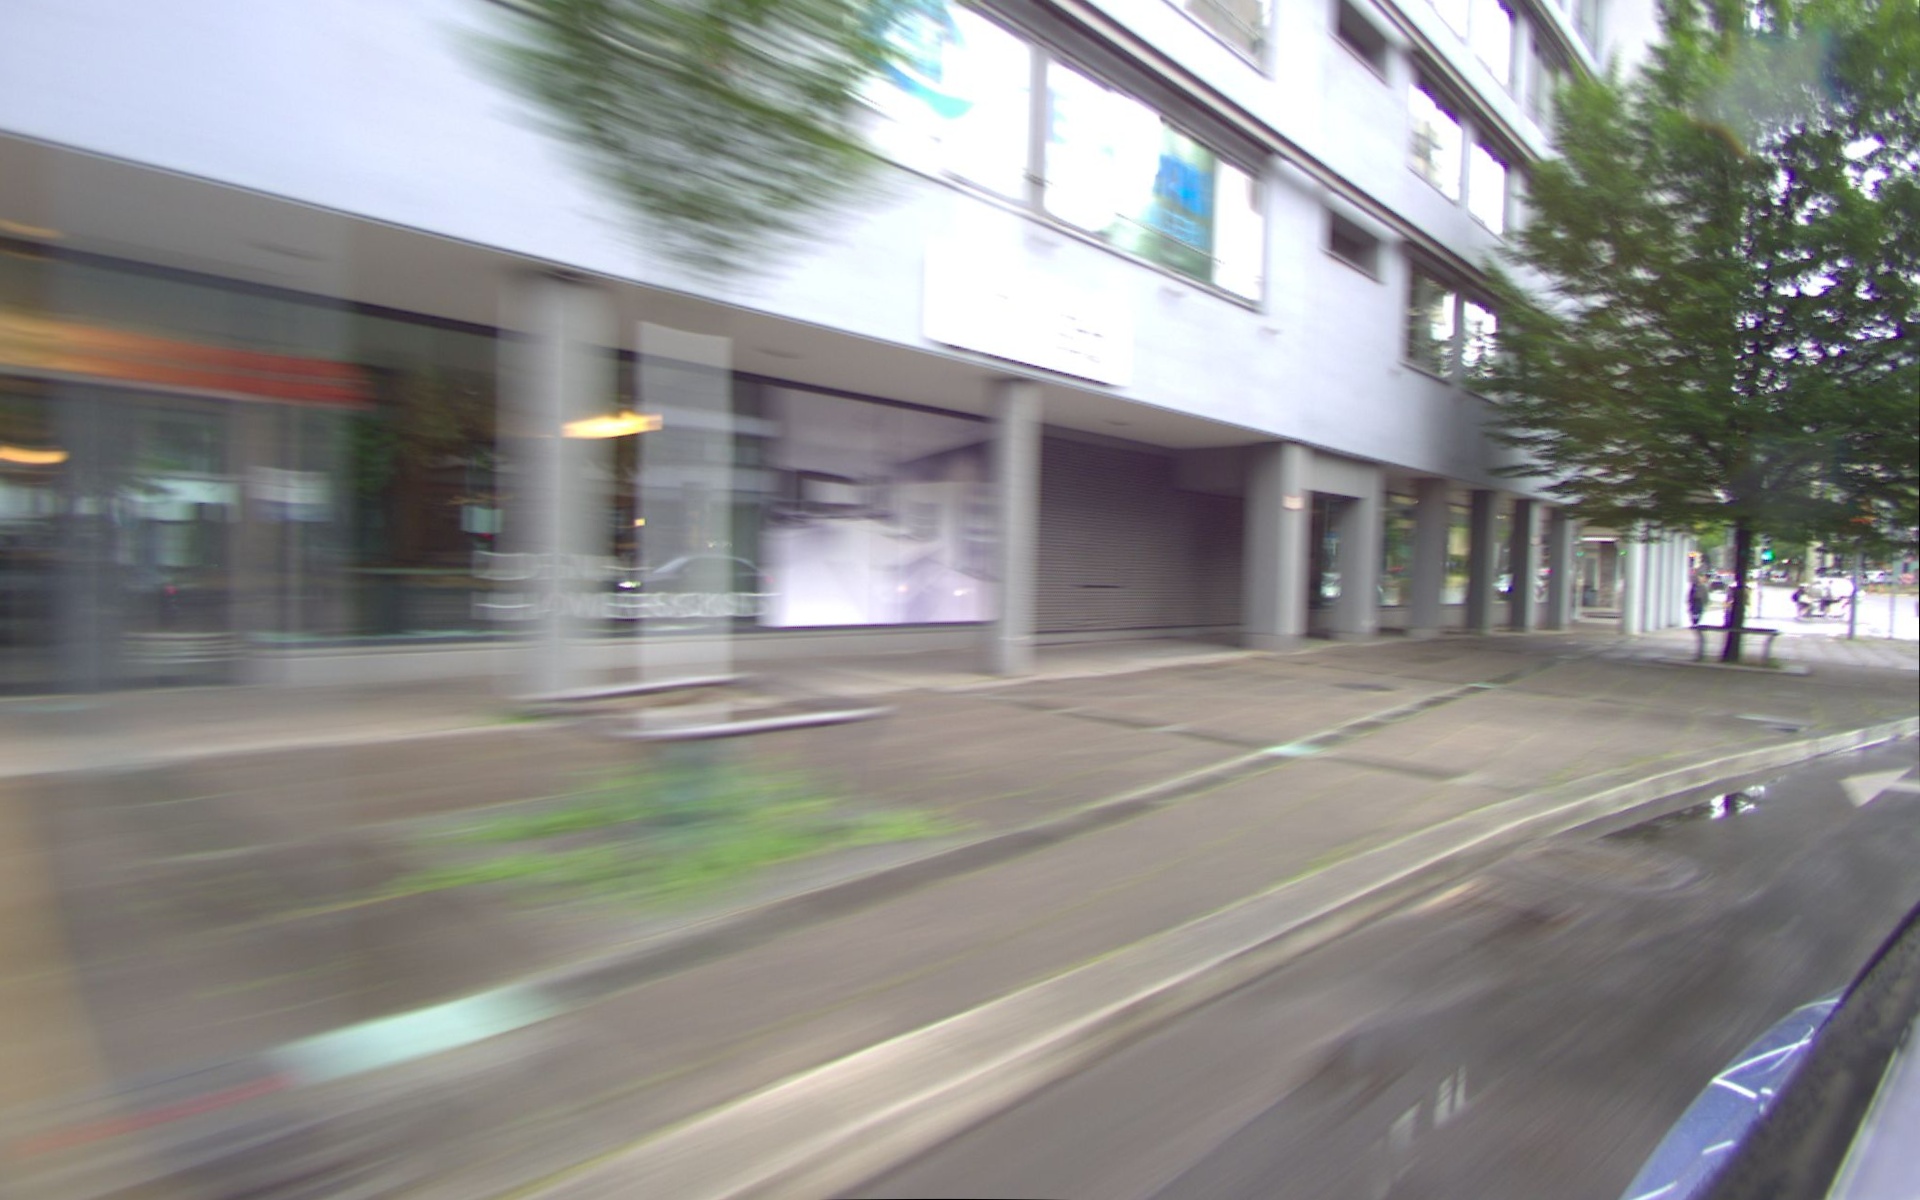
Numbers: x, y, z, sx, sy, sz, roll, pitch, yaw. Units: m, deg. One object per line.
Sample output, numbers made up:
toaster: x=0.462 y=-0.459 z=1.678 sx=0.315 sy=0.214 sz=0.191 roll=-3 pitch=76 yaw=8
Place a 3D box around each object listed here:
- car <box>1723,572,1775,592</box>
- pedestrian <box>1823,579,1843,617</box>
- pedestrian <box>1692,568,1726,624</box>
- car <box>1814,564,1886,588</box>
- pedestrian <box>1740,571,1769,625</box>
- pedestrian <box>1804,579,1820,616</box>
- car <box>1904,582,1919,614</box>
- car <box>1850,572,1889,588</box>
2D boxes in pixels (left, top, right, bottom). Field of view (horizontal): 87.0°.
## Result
car: x=61.480 y=-1.445 z=78.939 sx=1.867 sy=1.504 sz=3.979 roll=1 pitch=2 yaw=17
pedestrian: x=38.975 y=-0.097 z=45.190 sx=0.651 sy=1.617 sz=1.044 roll=1 pitch=2 yaw=40
pedestrian: x=24.731 y=-0.139 z=33.406 sx=0.791 sy=1.805 sz=0.881 roll=2 pitch=1 yaw=43
car: x=56.057 y=-1.536 z=63.836 sx=1.867 sy=1.504 sz=3.979 roll=1 pitch=2 yaw=17
pedestrian: x=26.852 y=-0.070 z=34.207 sx=0.865 sy=1.805 sz=0.640 roll=1 pitch=0 yaw=-44
pedestrian: x=38.455 y=-0.131 z=45.677 sx=0.525 sy=1.617 sz=0.720 roll=1 pitch=2 yaw=40
car: x=46.976 y=-0.051 z=47.784 sx=1.866 sy=1.504 sz=3.981 roll=1 pitch=2 yaw=16
car: x=88.067 y=-1.943 z=98.044 sx=1.726 sy=1.482 sz=3.965 roll=1 pitch=2 yaw=26
